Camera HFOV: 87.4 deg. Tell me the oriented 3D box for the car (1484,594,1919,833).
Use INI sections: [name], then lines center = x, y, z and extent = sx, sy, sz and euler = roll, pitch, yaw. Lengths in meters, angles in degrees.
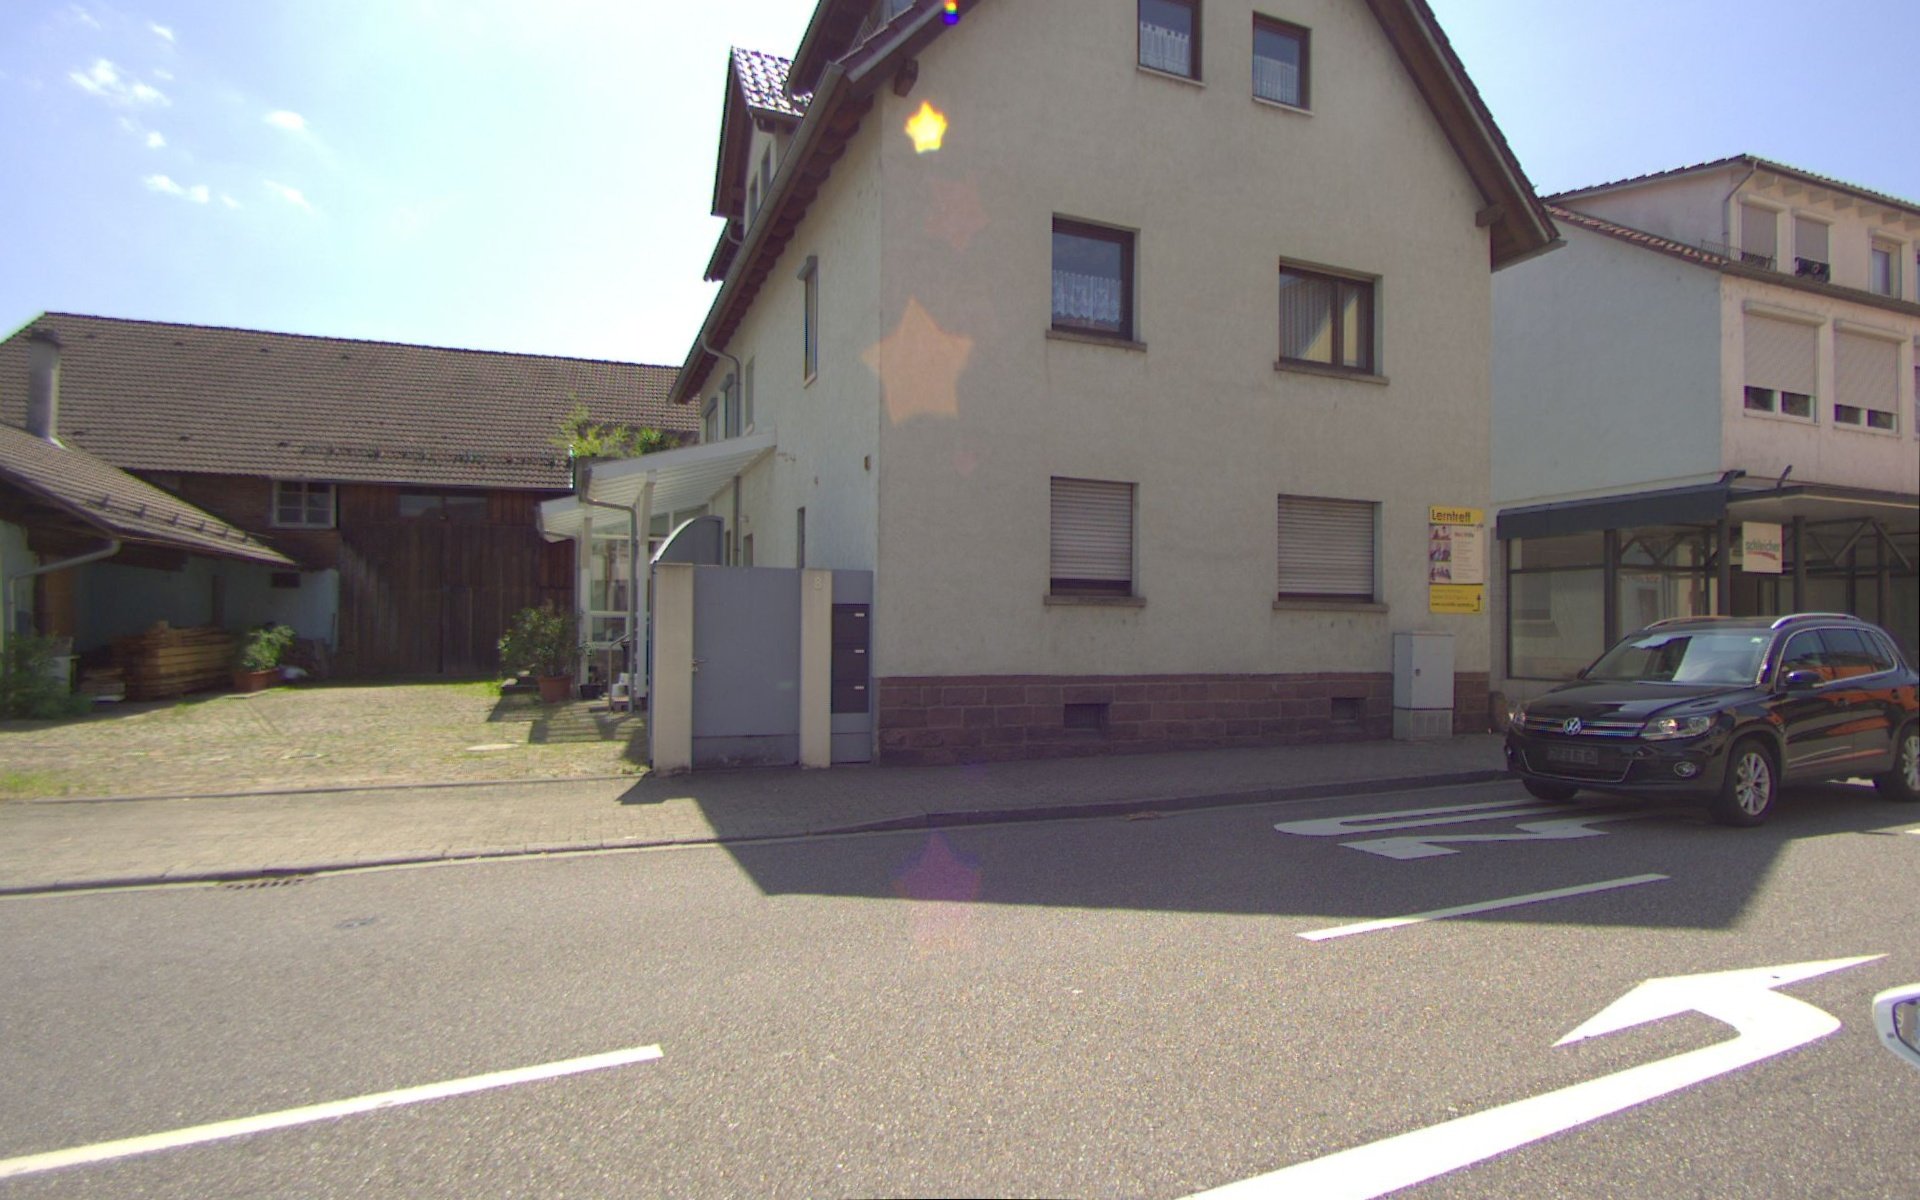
[car]
center = 6.783, 0.862, 8.959
extent = 4.059, 1.721, 1.685
euler = 0, -2, -27
